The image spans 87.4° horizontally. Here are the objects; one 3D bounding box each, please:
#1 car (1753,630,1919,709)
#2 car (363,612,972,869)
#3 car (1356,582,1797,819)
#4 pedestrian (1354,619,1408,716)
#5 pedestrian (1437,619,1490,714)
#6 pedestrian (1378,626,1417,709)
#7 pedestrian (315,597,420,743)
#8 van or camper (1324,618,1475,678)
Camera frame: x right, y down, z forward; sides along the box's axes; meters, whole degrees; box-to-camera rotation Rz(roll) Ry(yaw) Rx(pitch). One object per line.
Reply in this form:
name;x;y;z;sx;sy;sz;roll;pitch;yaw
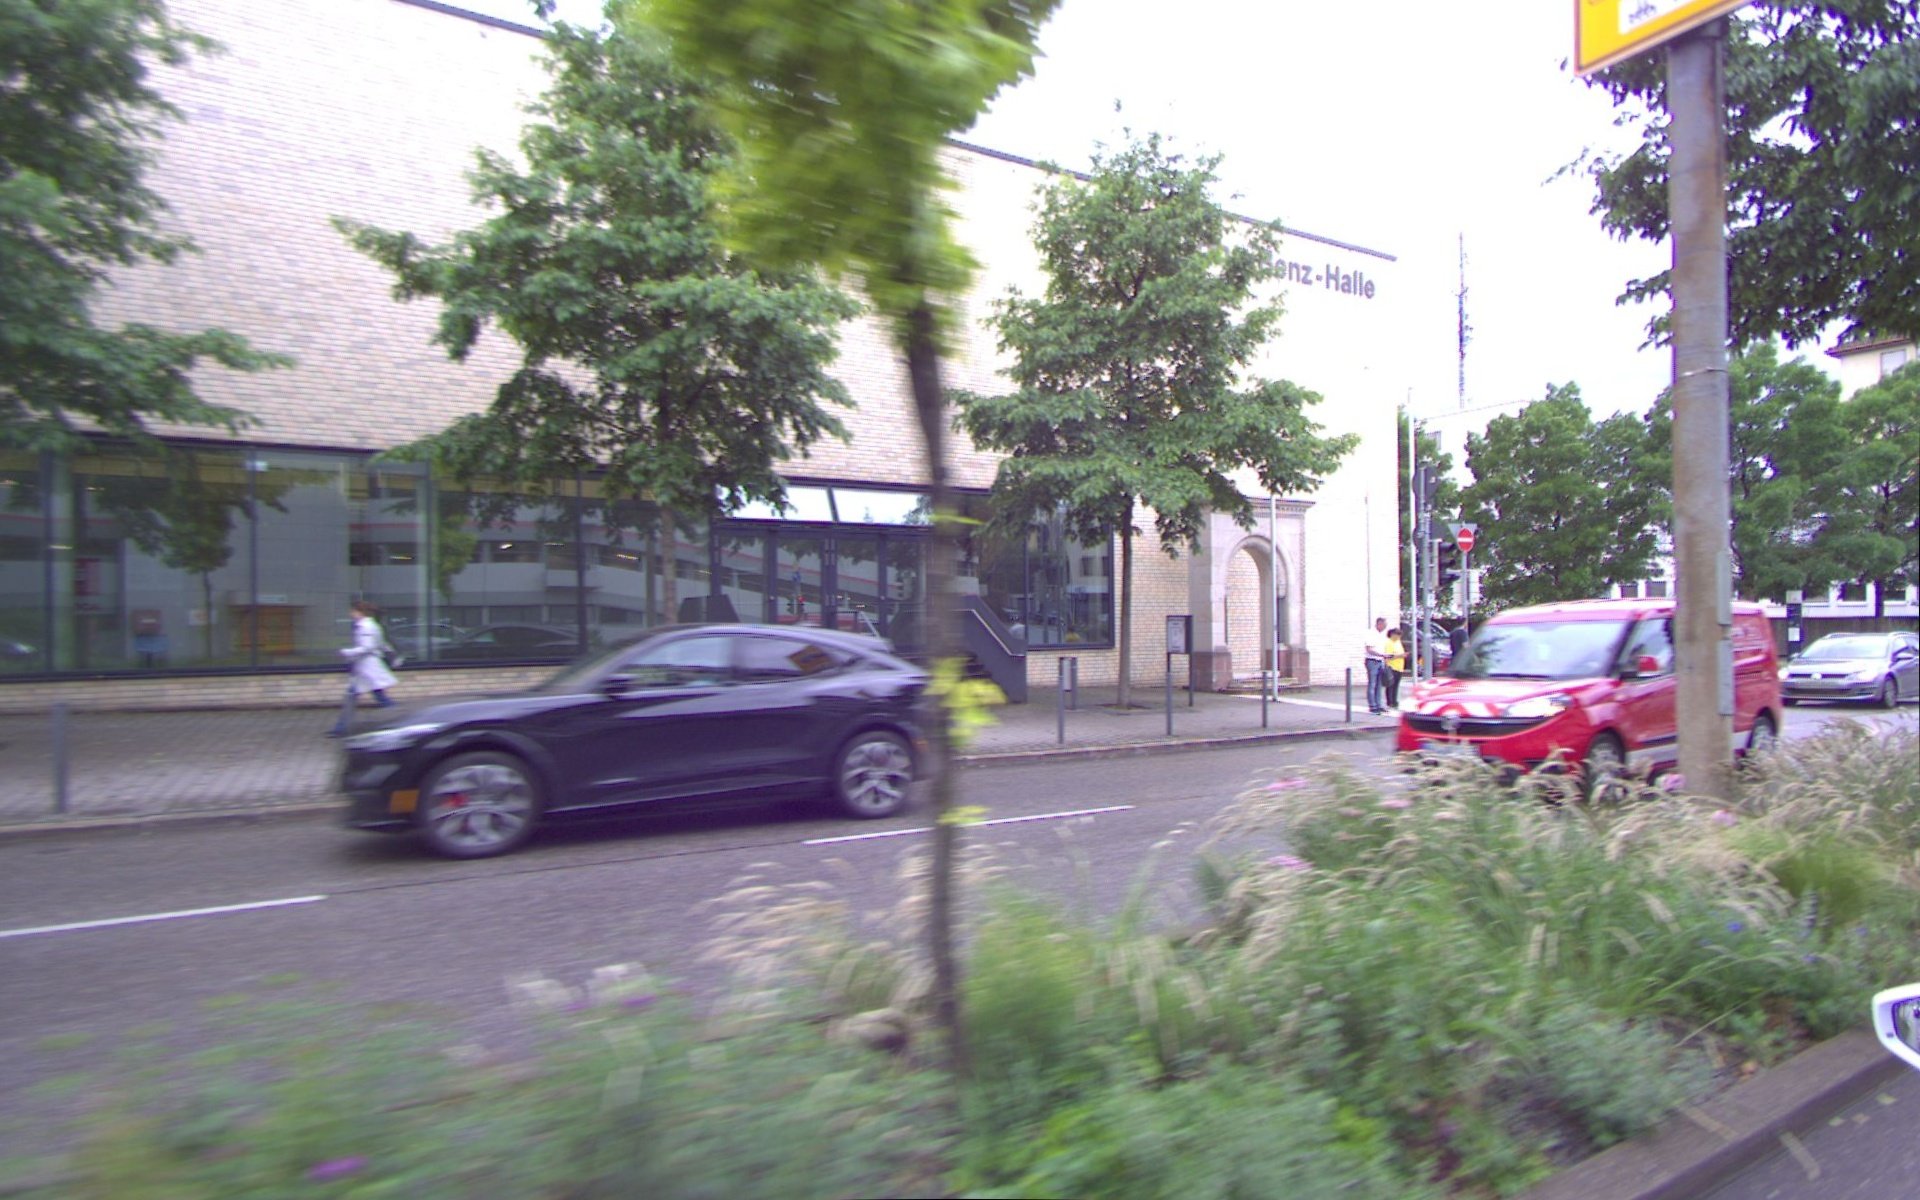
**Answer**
car;18.439;1.367;20.660;4.382;1.448;1.838;0;-3;-30
car;-2.285;0.983;8.279;4.485;1.607;1.879;2;-4;-31
car;6.241;0.902;10.008;4.739;1.878;1.784;2;-4;-32
pedestrian;7.487;1.181;17.871;0.683;1.678;0.608;1;-1;-31
pedestrian;9.628;1.249;19.197;0.712;1.781;0.681;1;-1;-40
pedestrian;8.319;1.264;19.093;0.539;1.554;0.436;1;-1;-31
pedestrian;-7.242;0.836;12.282;1.009;1.688;0.638;2;0;-35
van or camper;15.565;1.639;35.829;1.998;1.957;4.718;1;-1;-29
